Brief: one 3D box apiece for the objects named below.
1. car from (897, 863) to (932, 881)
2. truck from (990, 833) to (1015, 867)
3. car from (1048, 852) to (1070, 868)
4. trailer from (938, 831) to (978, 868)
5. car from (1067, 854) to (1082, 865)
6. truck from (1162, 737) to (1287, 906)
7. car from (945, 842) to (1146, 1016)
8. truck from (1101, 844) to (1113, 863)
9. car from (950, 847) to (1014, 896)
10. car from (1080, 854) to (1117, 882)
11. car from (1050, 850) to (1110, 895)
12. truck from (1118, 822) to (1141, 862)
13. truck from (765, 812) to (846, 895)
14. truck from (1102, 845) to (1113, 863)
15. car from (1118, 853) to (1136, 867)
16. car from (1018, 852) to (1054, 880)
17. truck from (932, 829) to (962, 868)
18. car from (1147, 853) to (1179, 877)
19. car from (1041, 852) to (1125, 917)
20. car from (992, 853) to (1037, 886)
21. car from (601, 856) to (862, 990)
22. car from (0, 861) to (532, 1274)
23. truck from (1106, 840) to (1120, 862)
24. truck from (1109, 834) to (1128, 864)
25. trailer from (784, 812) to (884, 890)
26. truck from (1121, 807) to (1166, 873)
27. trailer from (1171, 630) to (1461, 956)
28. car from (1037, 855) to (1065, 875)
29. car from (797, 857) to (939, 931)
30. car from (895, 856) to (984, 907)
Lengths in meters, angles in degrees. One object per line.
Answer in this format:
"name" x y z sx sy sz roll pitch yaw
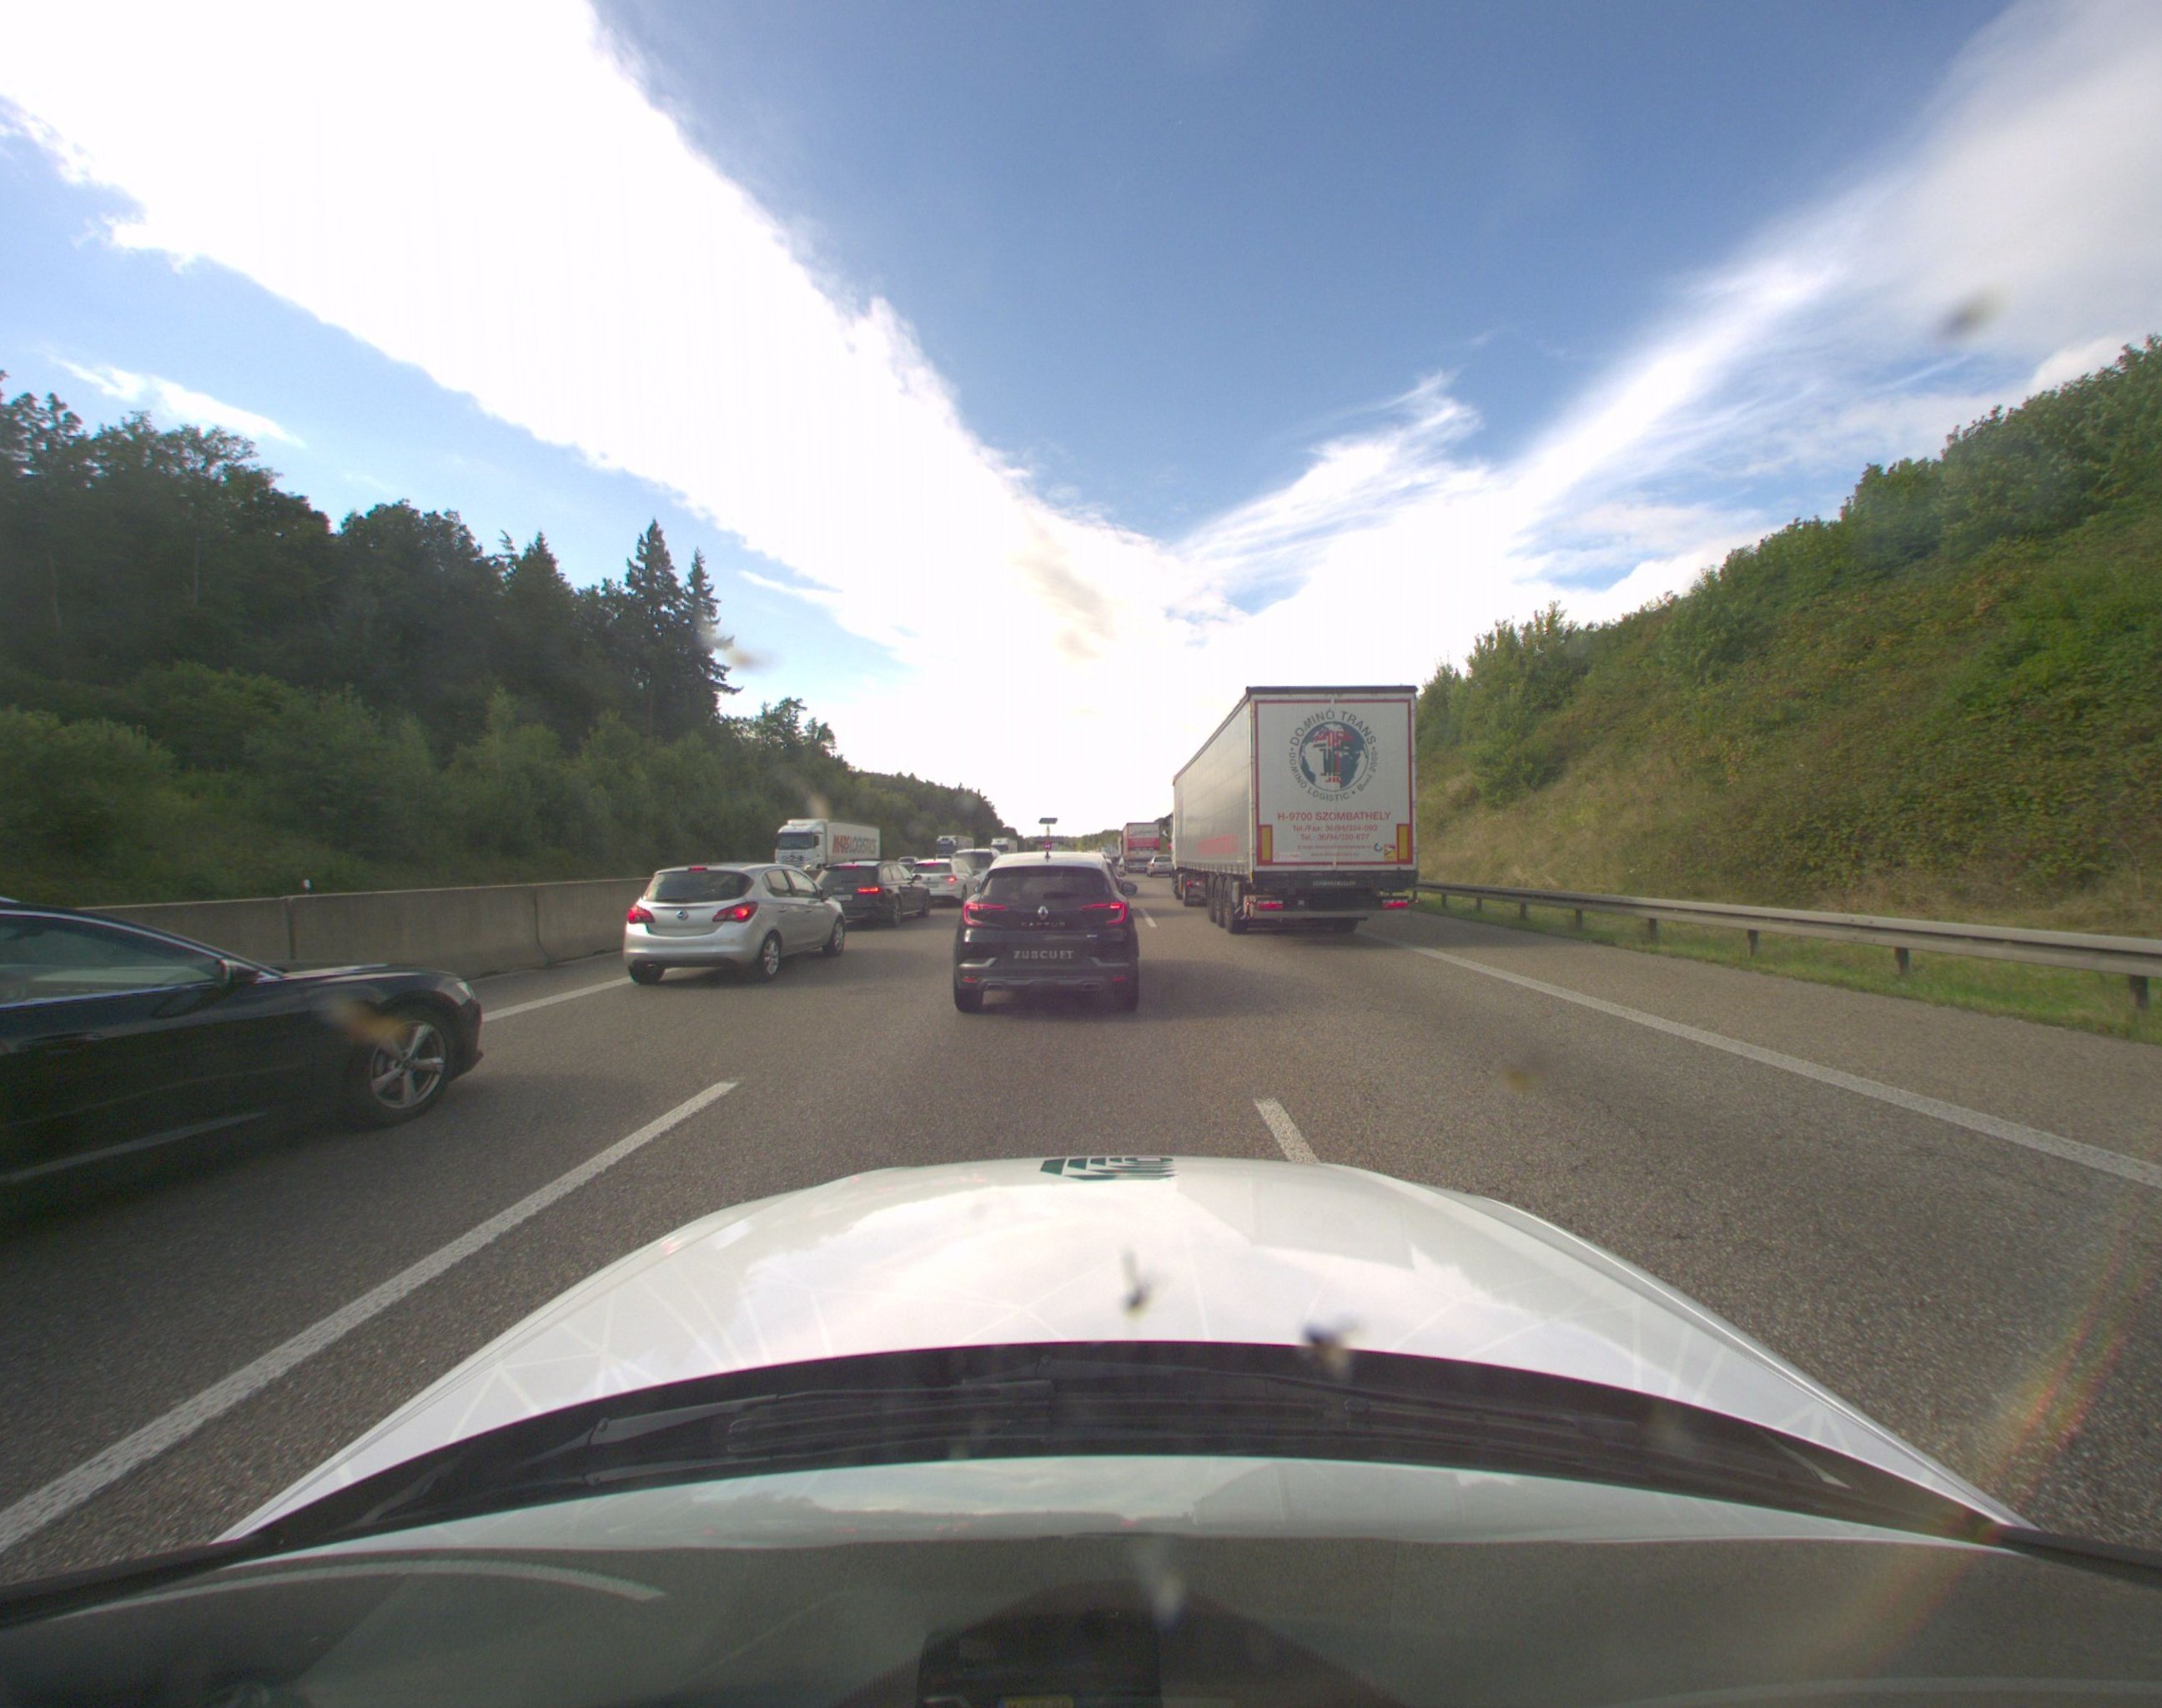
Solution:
"car" -14.024 1.508 68.670 1.947 1.428 4.325 0 0 1
"truck" -12.275 -0.601 128.405 3.077 5.101 7.143 0 -1 1
"car" -2.268 0.595 83.998 1.986 1.613 4.002 -1 0 2
"trailer" -16.968 -0.509 113.279 2.916 4.830 14.657 0 -1 1
"car" -0.956 0.786 118.098 1.986 1.613 4.002 -1 0 2
"truck" 4.281 -0.897 25.596 2.986 4.667 5.941 -1 0 1
"car" -0.180 0.687 9.338 1.796 1.552 4.004 -1 0 4
"truck" 7.851 -0.147 245.211 3.154 5.505 12.745 0 -1 3
"car" -3.868 0.669 32.508 1.905 1.789 4.418 0 -1 1
"car" 1.002 0.772 45.346 1.986 1.514 4.002 0 -1 2
"car" 0.037 0.639 29.765 1.986 1.514 4.002 0 -1 2
"truck" 7.029 -1.666 118.815 3.154 5.505 12.745 0 -1 3
"truck" -18.530 0.018 55.282 3.028 5.253 6.885 0 -1 1
"truck" 8.564 0.010 263.239 3.154 5.505 12.745 0 -1 3
"car" 5.432 0.662 96.830 1.986 1.613 4.002 -1 0 2
"car" -2.881 0.763 52.976 1.986 1.722 4.002 0 -1 2
"truck" -17.262 -0.654 105.338 2.921 4.859 4.767 0 -1 1
"car" 5.364 0.731 53.778 1.798 1.533 3.926 0 -1 1
"car" 0.123 0.735 21.236 1.986 1.514 4.002 0 -1 2
"car" -3.428 0.773 42.799 1.848 1.641 3.928 0 -1 3
"car" -4.540 0.790 11.319 1.740 1.465 4.042 -1 0 2
"car" -4.839 0.790 3.210 1.874 1.471 4.855 0 0 3
"truck" 7.578 -0.621 191.752 3.154 5.159 12.745 0 -1 3
"truck" 7.287 -0.895 156.929 3.152 5.505 12.750 0 -1 4
"trailer" -18.342 -0.132 61.814 3.031 5.281 13.838 0 -1 1
"truck" 5.122 -1.032 69.160 3.351 5.044 12.745 0 -1 3
"trailer" 4.098 -0.882 18.333 2.991 4.661 13.294 -1 0 1
"car" -2.507 0.902 68.890 1.986 1.613 4.002 0 -1 2
"car" -4.696 0.816 18.721 1.836 1.456 4.750 0 0 2
"car" -4.313 0.808 25.488 1.797 1.461 4.311 -1 0 3
